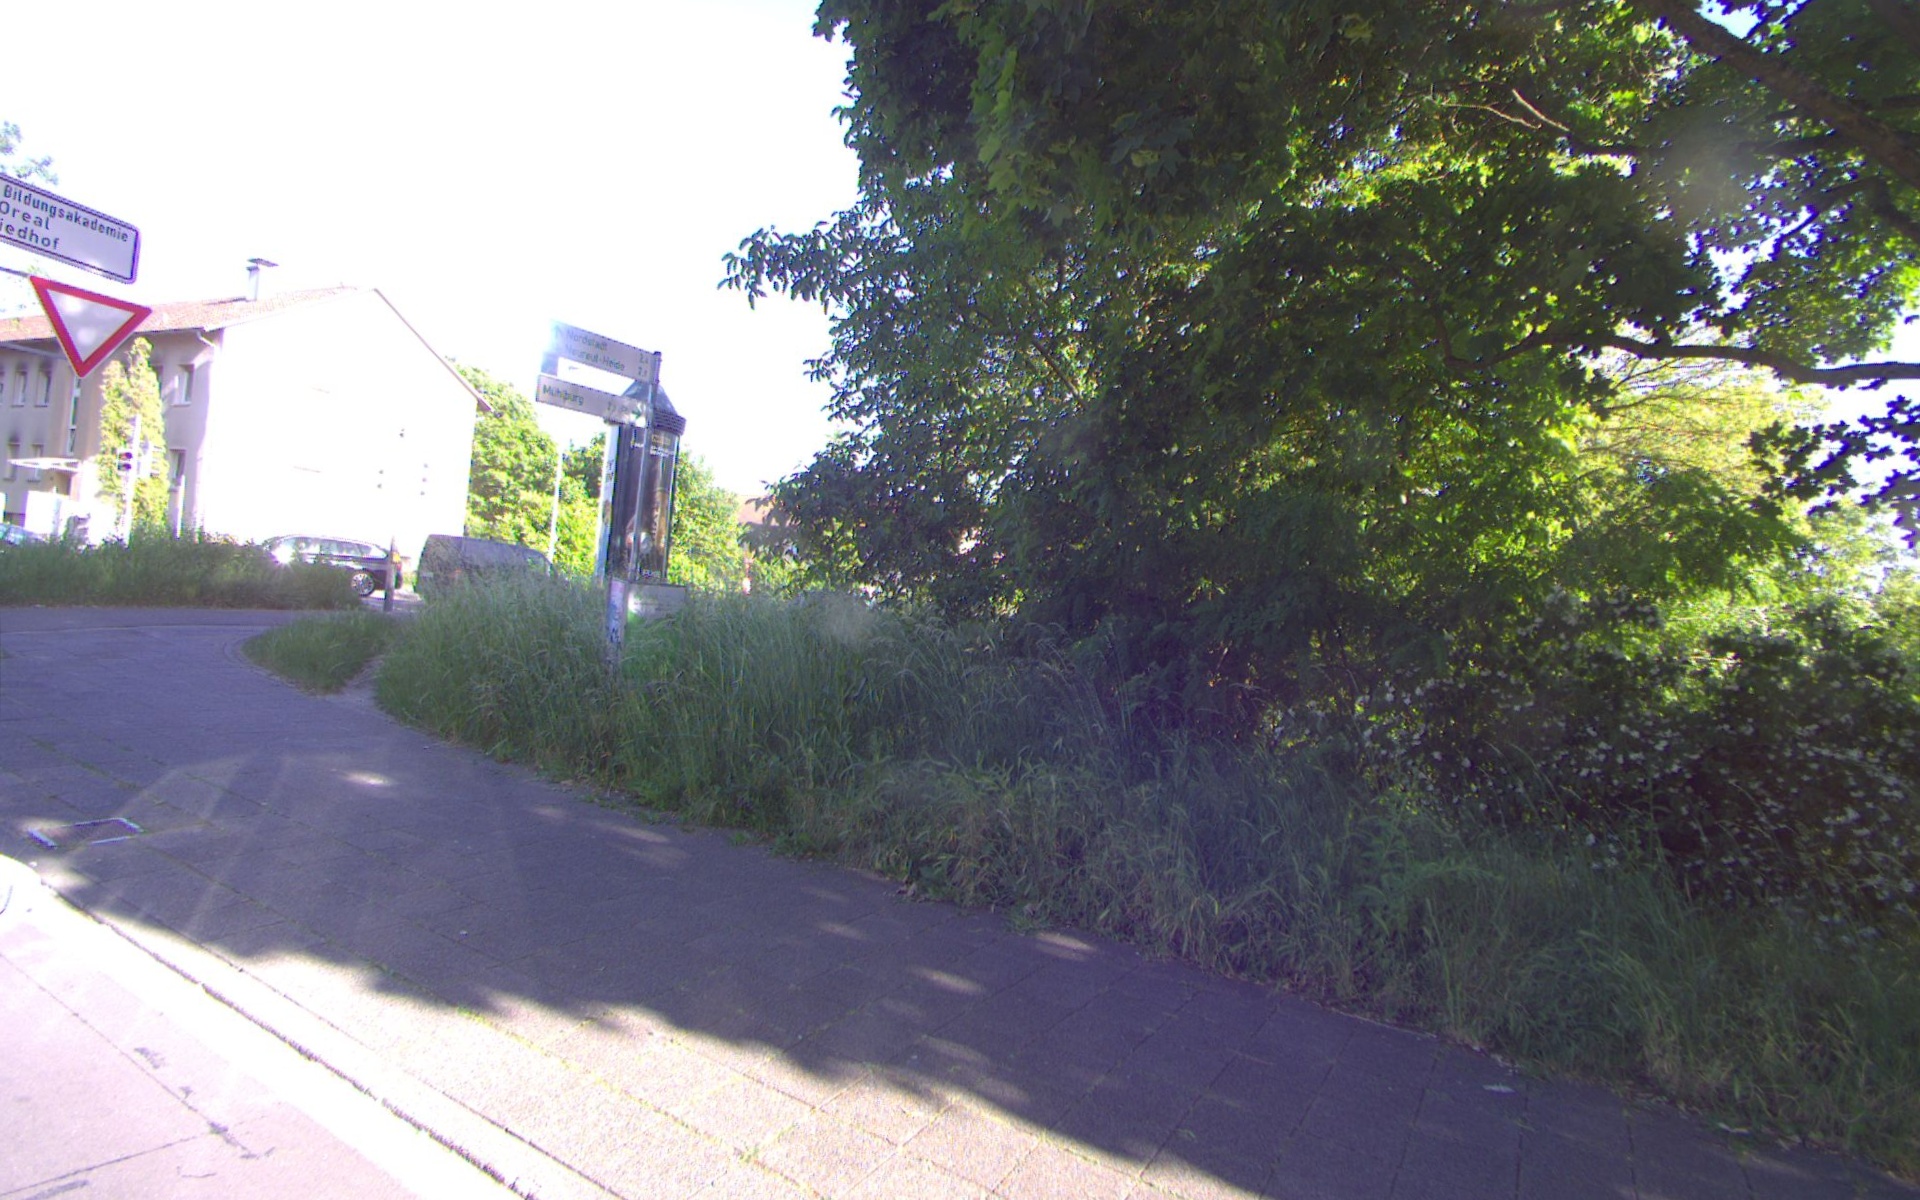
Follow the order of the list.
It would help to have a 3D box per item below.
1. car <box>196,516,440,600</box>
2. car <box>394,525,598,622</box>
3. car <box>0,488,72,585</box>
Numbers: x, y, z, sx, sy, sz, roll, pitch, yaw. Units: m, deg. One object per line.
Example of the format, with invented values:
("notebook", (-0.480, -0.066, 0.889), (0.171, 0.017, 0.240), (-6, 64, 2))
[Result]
("car", (-15.888, -0.979, 25.221), (1.964, 1.447, 4.740), (7, -1, 26))
("car", (-11.594, -0.599, 25.483), (1.827, 1.910, 4.354), (7, 0, 27))
("car", (-17.047, -1.236, 15.741), (1.881, 1.507, 4.290), (7, 0, 29))
